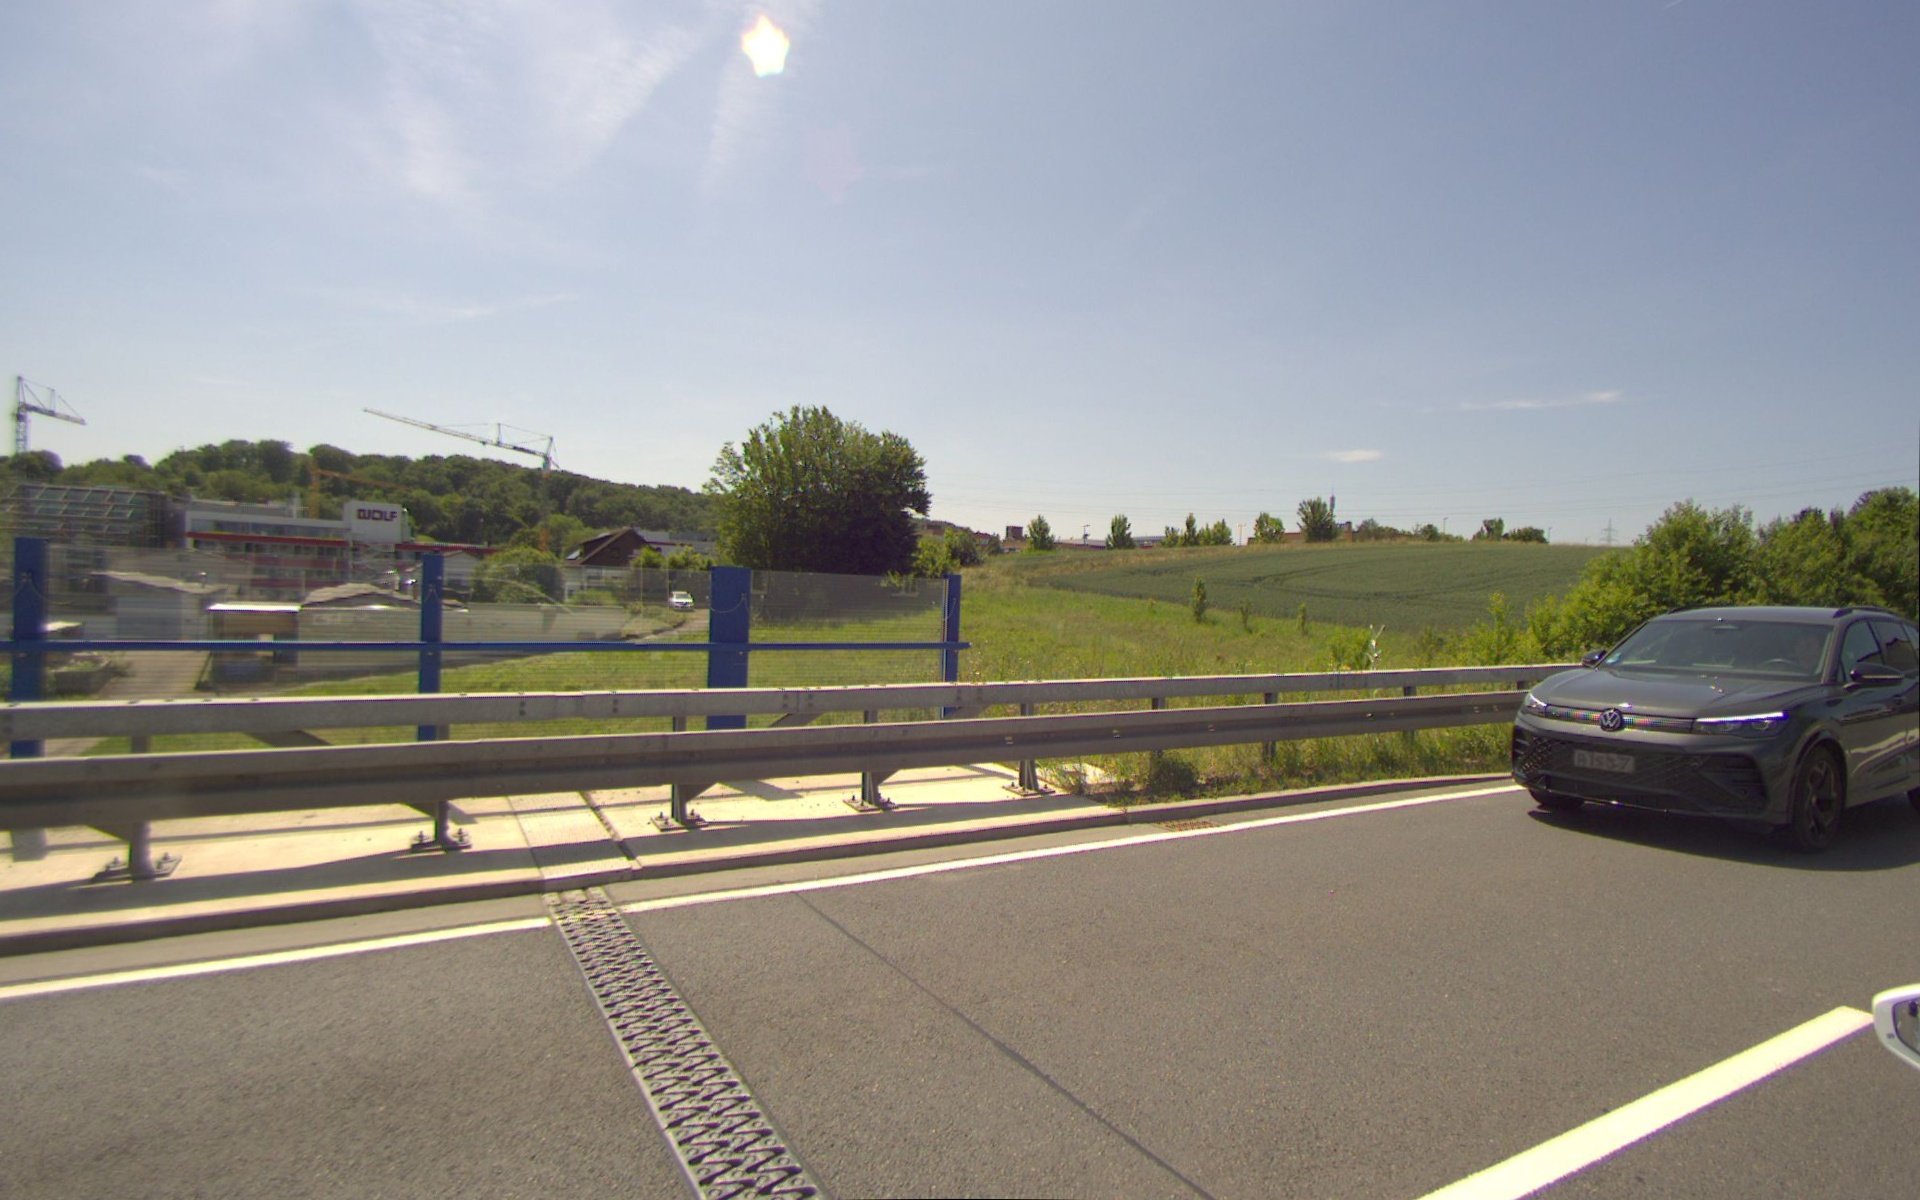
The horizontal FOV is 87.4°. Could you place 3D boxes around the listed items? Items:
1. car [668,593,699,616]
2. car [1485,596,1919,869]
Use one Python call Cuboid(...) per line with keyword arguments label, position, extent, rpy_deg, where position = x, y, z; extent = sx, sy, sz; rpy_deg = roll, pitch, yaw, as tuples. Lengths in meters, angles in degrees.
Cuboid(label="car", position=(-23.532, 0.340, 85.430), extent=(1.807, 1.625, 3.974), rpy_deg=(-2, 4, -25))
Cuboid(label="car", position=(6.345, 0.839, 8.026), extent=(4.323, 1.632, 1.855), rpy_deg=(1, 0, -32))
